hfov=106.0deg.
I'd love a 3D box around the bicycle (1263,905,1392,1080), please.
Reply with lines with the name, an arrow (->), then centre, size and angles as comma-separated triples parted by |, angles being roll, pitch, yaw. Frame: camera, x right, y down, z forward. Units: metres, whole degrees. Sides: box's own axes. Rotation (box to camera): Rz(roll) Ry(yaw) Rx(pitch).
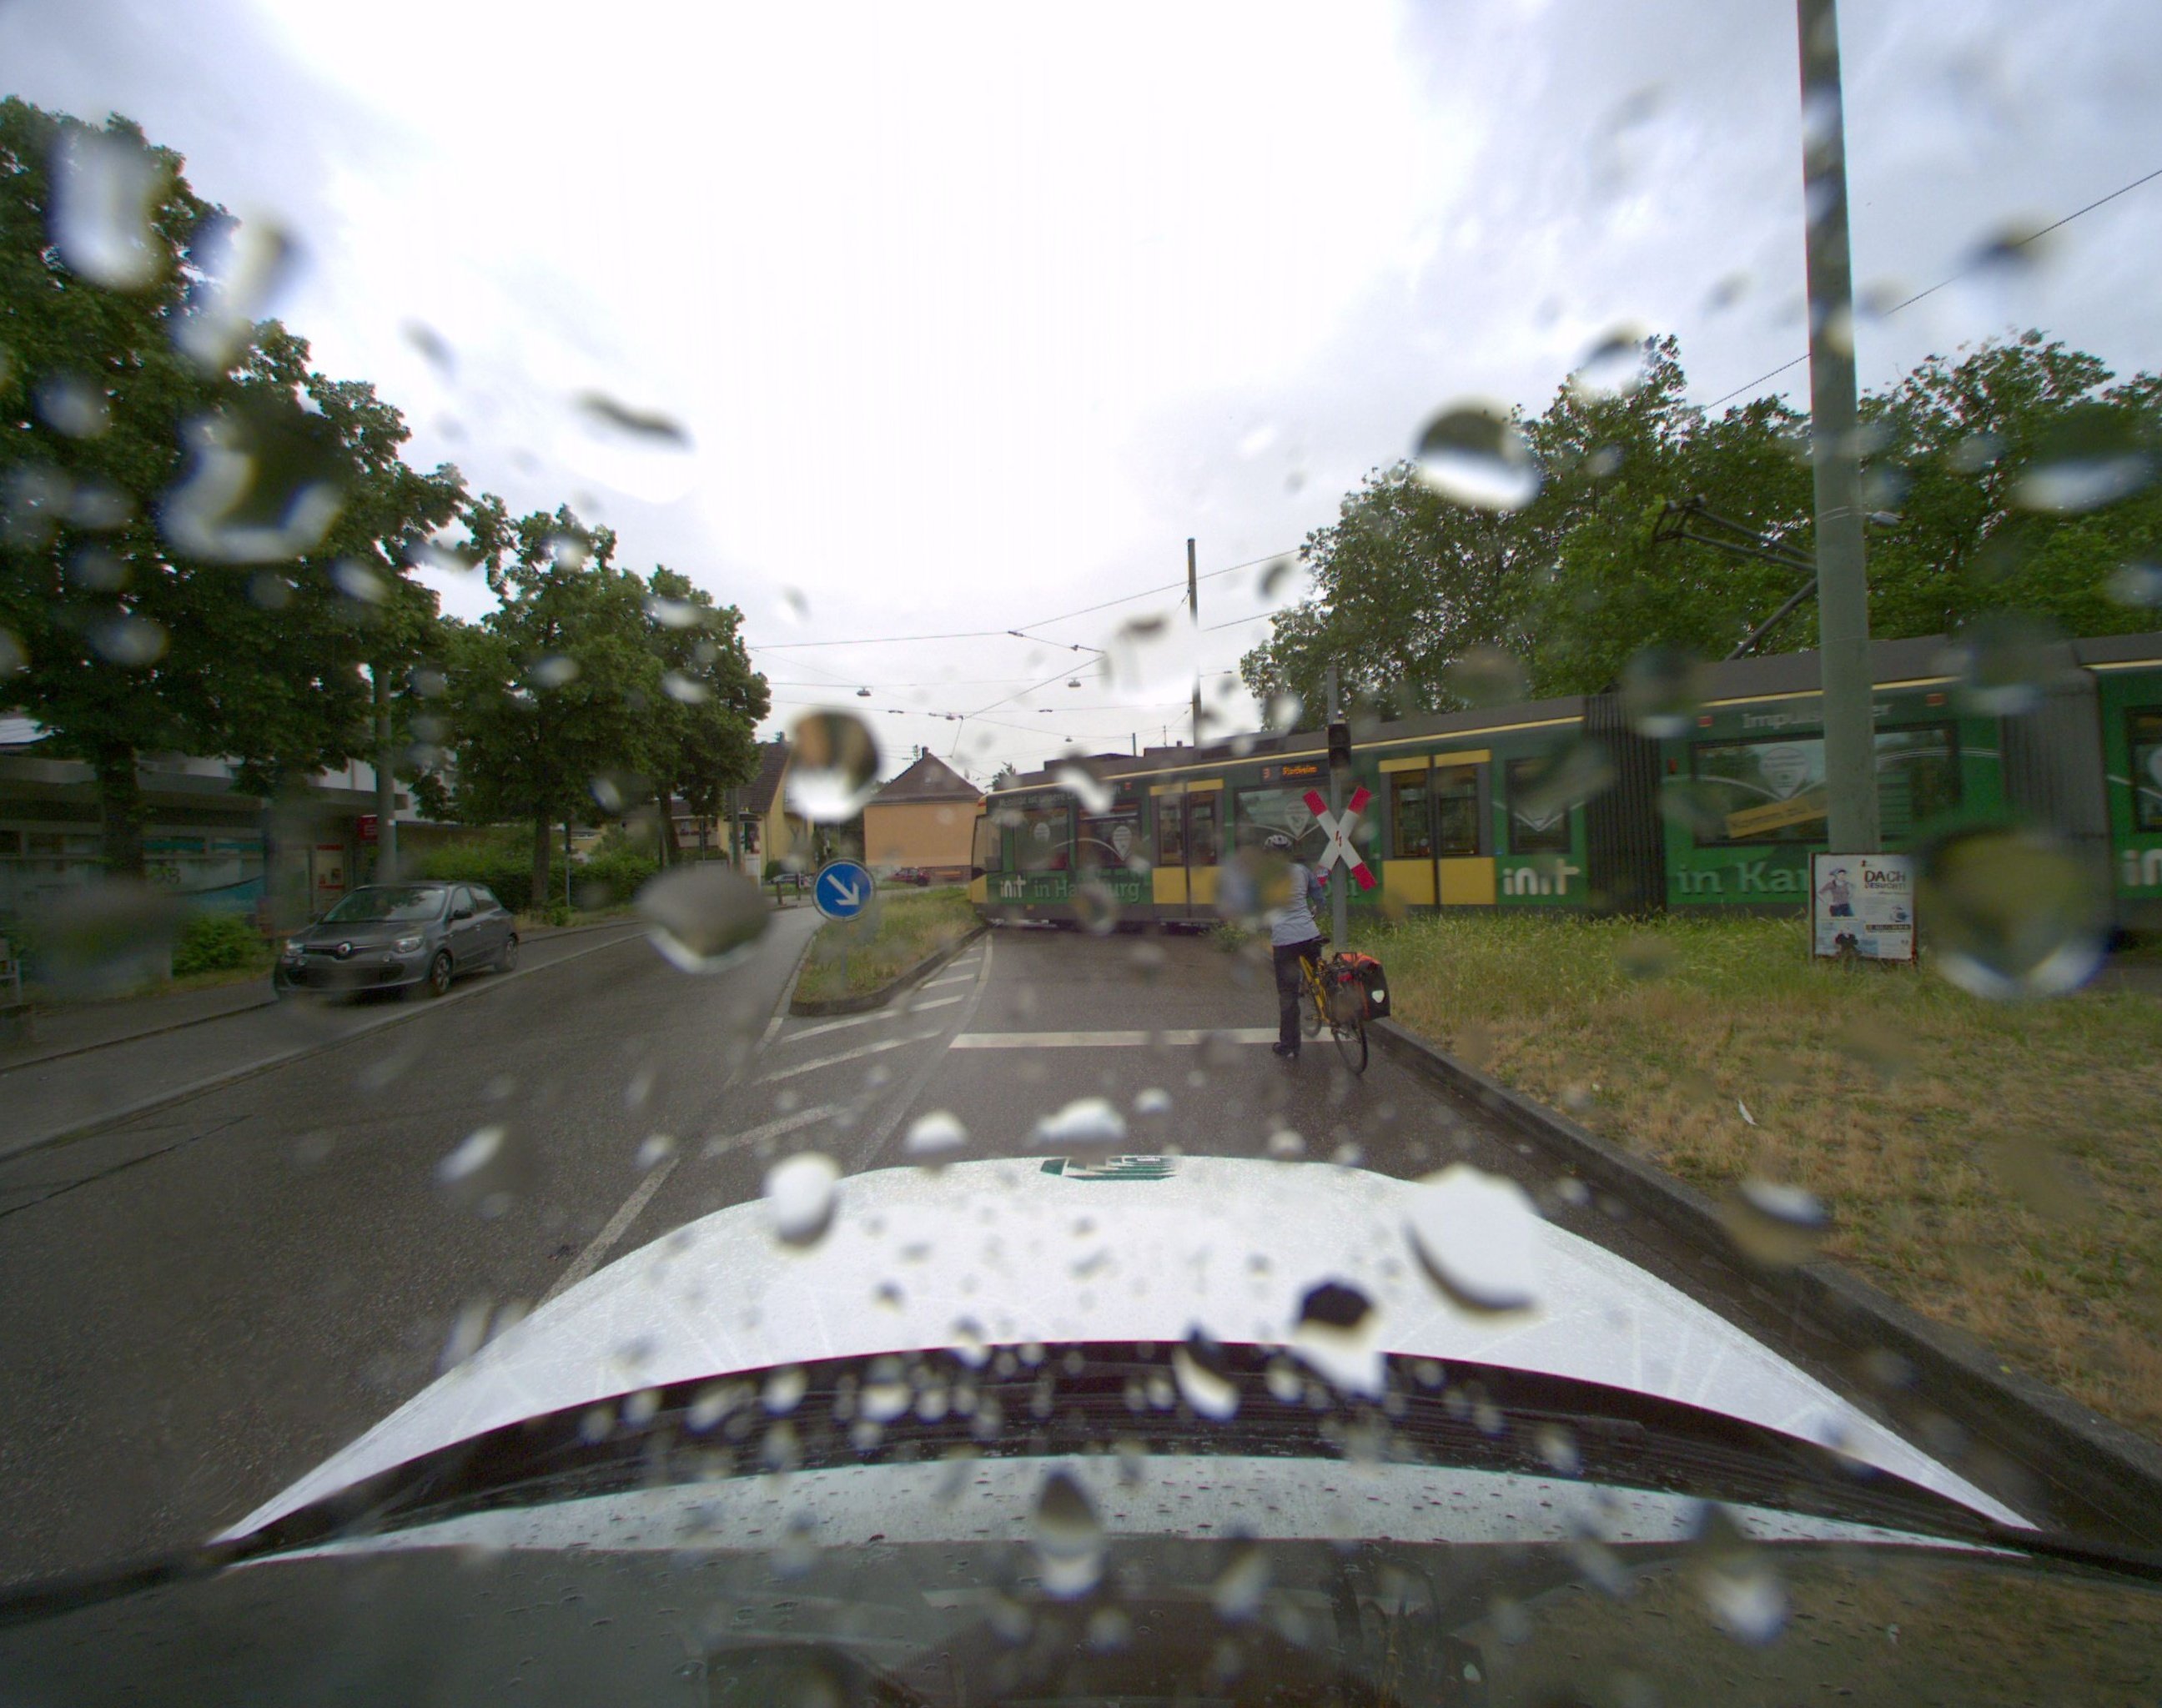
bicycle -> 1.795, 0.949, 6.147 | 0.444, 1.004, 1.728 | -2, 0, 1

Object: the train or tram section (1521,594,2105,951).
train or tram section -> 8.592, -0.729, 10.493 | 4.924, 3.553, 2.787 | -3, -1, 29

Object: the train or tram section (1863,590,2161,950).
train or tram section -> 16.220, -1.117, 8.373 | 12.083, 3.553, 2.779 | -3, -1, 12

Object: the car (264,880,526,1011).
car -> -9.692, 1.176, 11.888 | 1.621, 1.496, 3.645 | 0, -1, -18

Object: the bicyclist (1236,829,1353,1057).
bicyclist -> 1.605, 0.637, 6.241 | 0.665, 1.626, 0.853 | 0, -1, 1

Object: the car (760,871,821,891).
car -> -22.098, 2.024, 62.040 | 3.979, 1.456, 1.831 | 0, -1, -5

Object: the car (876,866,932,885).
car -> -13.653, 1.645, 63.083 | 3.979, 1.456, 1.831 | 0, -1, -5

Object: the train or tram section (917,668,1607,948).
train or tram section -> 2.114, -0.379, 15.574 | 12.963, 3.553, 2.787 | -3, -1, 41
